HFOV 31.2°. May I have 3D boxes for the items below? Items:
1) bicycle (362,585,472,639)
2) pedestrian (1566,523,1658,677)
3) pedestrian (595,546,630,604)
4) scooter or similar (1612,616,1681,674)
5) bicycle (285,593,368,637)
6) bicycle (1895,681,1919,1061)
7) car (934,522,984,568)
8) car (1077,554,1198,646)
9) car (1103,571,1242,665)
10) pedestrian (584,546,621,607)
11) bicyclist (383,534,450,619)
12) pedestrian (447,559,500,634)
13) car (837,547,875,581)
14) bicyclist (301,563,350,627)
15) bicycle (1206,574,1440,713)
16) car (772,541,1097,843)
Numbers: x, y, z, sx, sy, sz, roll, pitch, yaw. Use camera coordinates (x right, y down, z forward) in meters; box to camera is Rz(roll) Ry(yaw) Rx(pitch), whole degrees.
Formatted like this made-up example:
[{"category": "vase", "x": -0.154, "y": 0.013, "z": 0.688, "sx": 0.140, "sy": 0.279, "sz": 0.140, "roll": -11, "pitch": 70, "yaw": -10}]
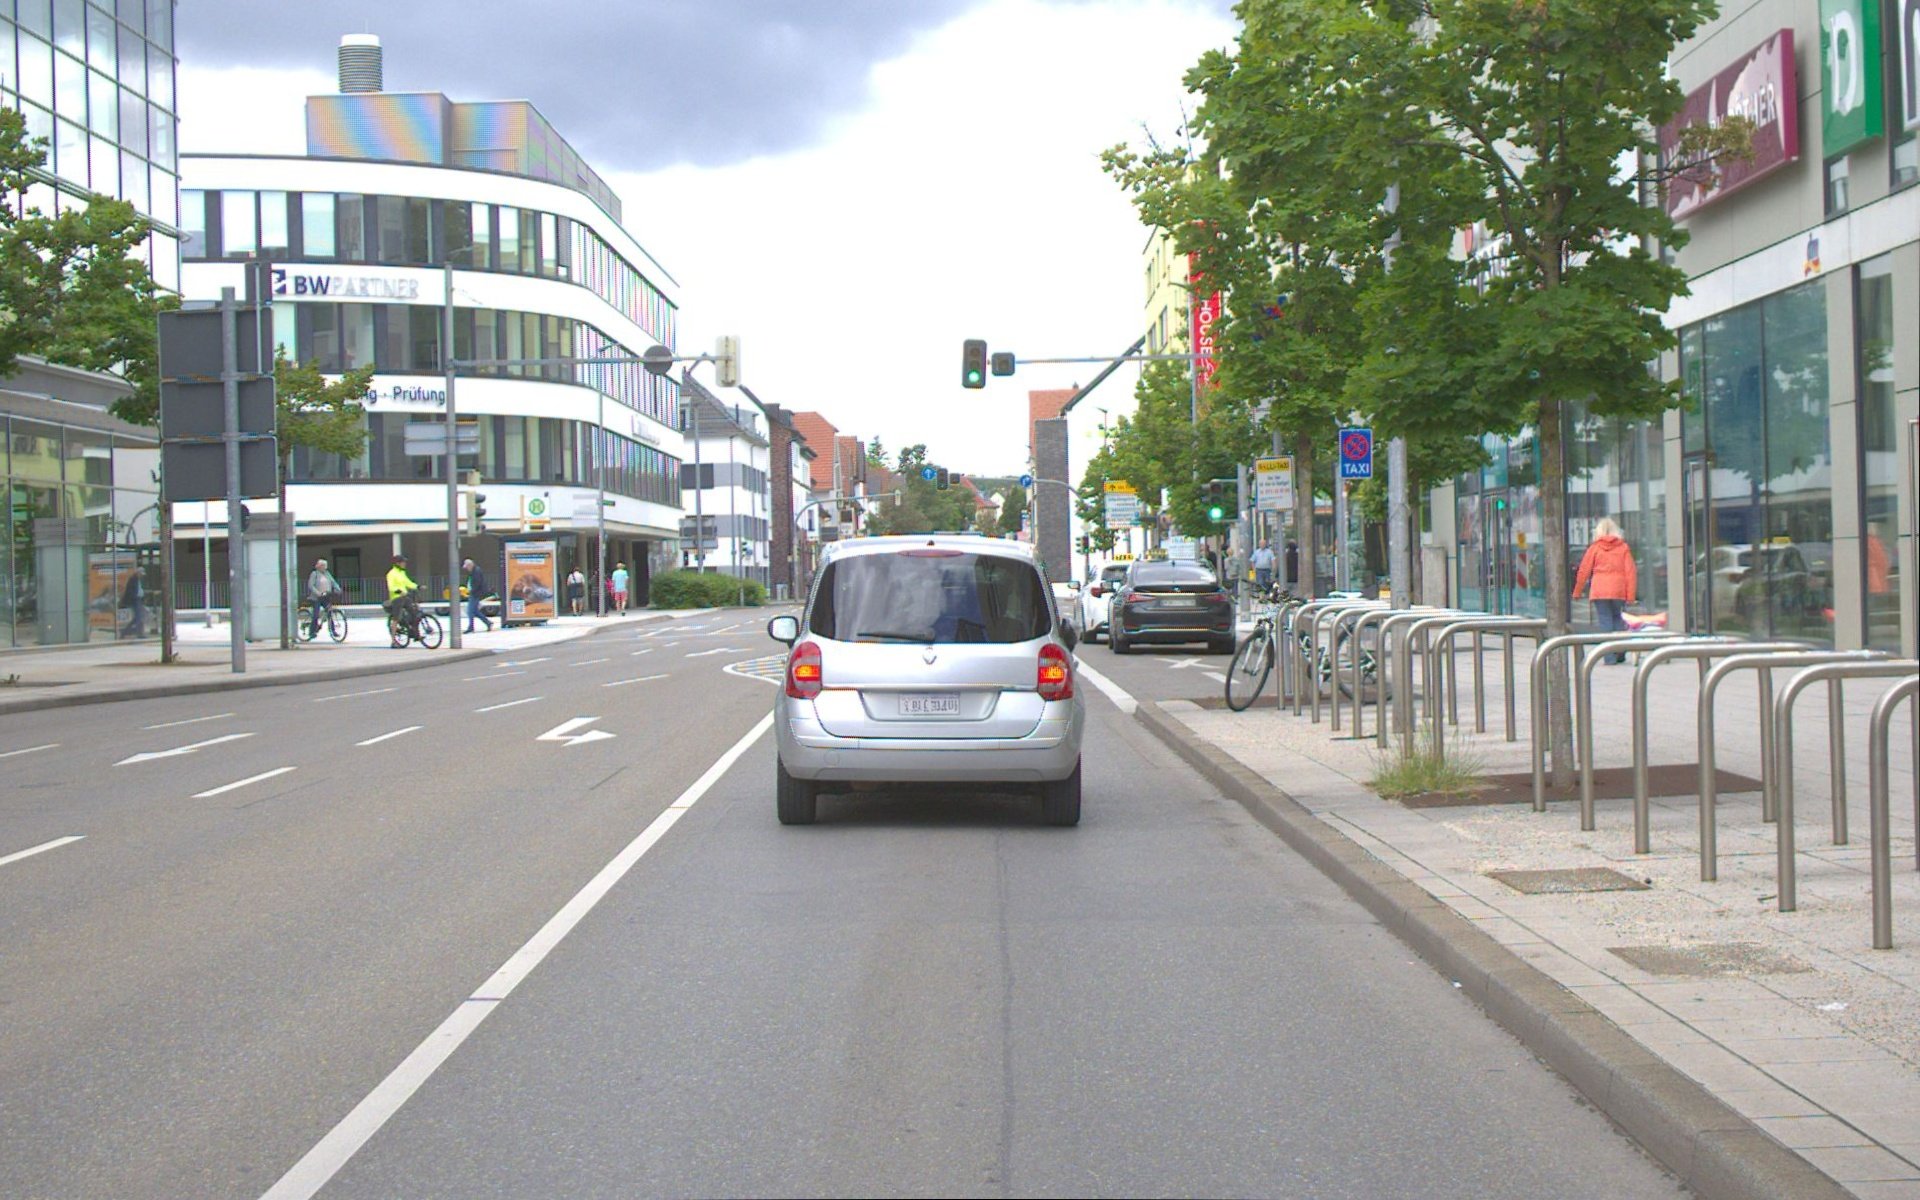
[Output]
[{"category": "bicycle", "x": -10.728, "y": 0.227, "z": 67.806, "sx": 1.006, "sy": 1.015, "sz": 3.130, "roll": 1, "pitch": 0, "yaw": -31}, {"category": "pedestrian", "x": 6.920, "y": -0.008, "z": 36.522, "sx": 0.710, "sy": 1.569, "sz": 0.812, "roll": -4, "pitch": 1, "yaw": 0}, {"category": "pedestrian", "x": -11.244, "y": -0.810, "z": 111.239, "sx": 0.960, "sy": 1.827, "sz": 1.250, "roll": -2, "pitch": 1, "yaw": 0}, {"category": "scooter or similar", "x": 7.142, "y": 0.465, "z": 35.773, "sx": 0.550, "sy": 0.544, "sz": 0.642, "roll": -4, "pitch": 1, "yaw": 0}, {"category": "bicycle", "x": -13.484, "y": 0.307, "z": 73.114, "sx": 0.827, "sy": 0.895, "sz": 2.525, "roll": -2, "pitch": 1, "yaw": -33}, {"category": "bicycle", "x": 3.289, "y": 0.706, "z": 8.855, "sx": 1.561, "sy": 0.989, "sz": 0.752, "roll": -1, "pitch": 1, "yaw": 3}, {"category": "car", "x": -0.023, "y": -2.482, "z": 155.173, "sx": 2.170, "sy": 2.007, "sz": 4.258, "roll": -2, "pitch": 1, "yaw": 0}, {"category": "car", "x": 3.049, "y": -0.025, "z": 59.597, "sx": 1.877, "sy": 1.503, "sz": 4.000, "roll": 1, "pitch": 1, "yaw": 0}, {"category": "car", "x": 3.238, "y": 0.248, "z": 53.041, "sx": 1.877, "sy": 1.330, "sz": 4.000, "roll": 1, "pitch": 1, "yaw": 0}, {"category": "pedestrian", "x": -11.007, "y": -0.736, "z": 105.787, "sx": 0.960, "sy": 1.827, "sz": 1.250, "roll": -2, "pitch": 1, "yaw": 0}, {"category": "bicyclist", "x": -10.721, "y": -0.467, "z": 67.815, "sx": 1.006, "sy": 1.655, "sz": 0.933, "roll": 1, "pitch": 0, "yaw": -31}, {"category": "pedestrian", "x": -12.202, "y": -0.084, "z": 86.201, "sx": 1.246, "sy": 1.827, "sz": 0.964, "roll": -2, "pitch": 1, "yaw": -7}, {"category": "car", "x": -6.449, "y": -2.221, "z": 212.891, "sx": 2.170, "sy": 2.007, "sz": 4.258, "roll": -2, "pitch": 1, "yaw": 0}, {"category": "bicyclist", "x": -13.492, "y": -0.112, "z": 73.112, "sx": 0.827, "sy": 1.322, "sz": 0.652, "roll": -2, "pitch": 1, "yaw": -33}, {"category": "bicycle", "x": 3.032, "y": 0.359, "z": 28.817, "sx": 1.825, "sy": 1.071, "sz": 0.752, "roll": -2, "pitch": 1, "yaw": -1}, {"category": "car", "x": -0.209, "y": 0.447, "z": 19.712, "sx": 1.669, "sy": 1.549, "sz": 3.642, "roll": 1, "pitch": 1, "yaw": -2}]
